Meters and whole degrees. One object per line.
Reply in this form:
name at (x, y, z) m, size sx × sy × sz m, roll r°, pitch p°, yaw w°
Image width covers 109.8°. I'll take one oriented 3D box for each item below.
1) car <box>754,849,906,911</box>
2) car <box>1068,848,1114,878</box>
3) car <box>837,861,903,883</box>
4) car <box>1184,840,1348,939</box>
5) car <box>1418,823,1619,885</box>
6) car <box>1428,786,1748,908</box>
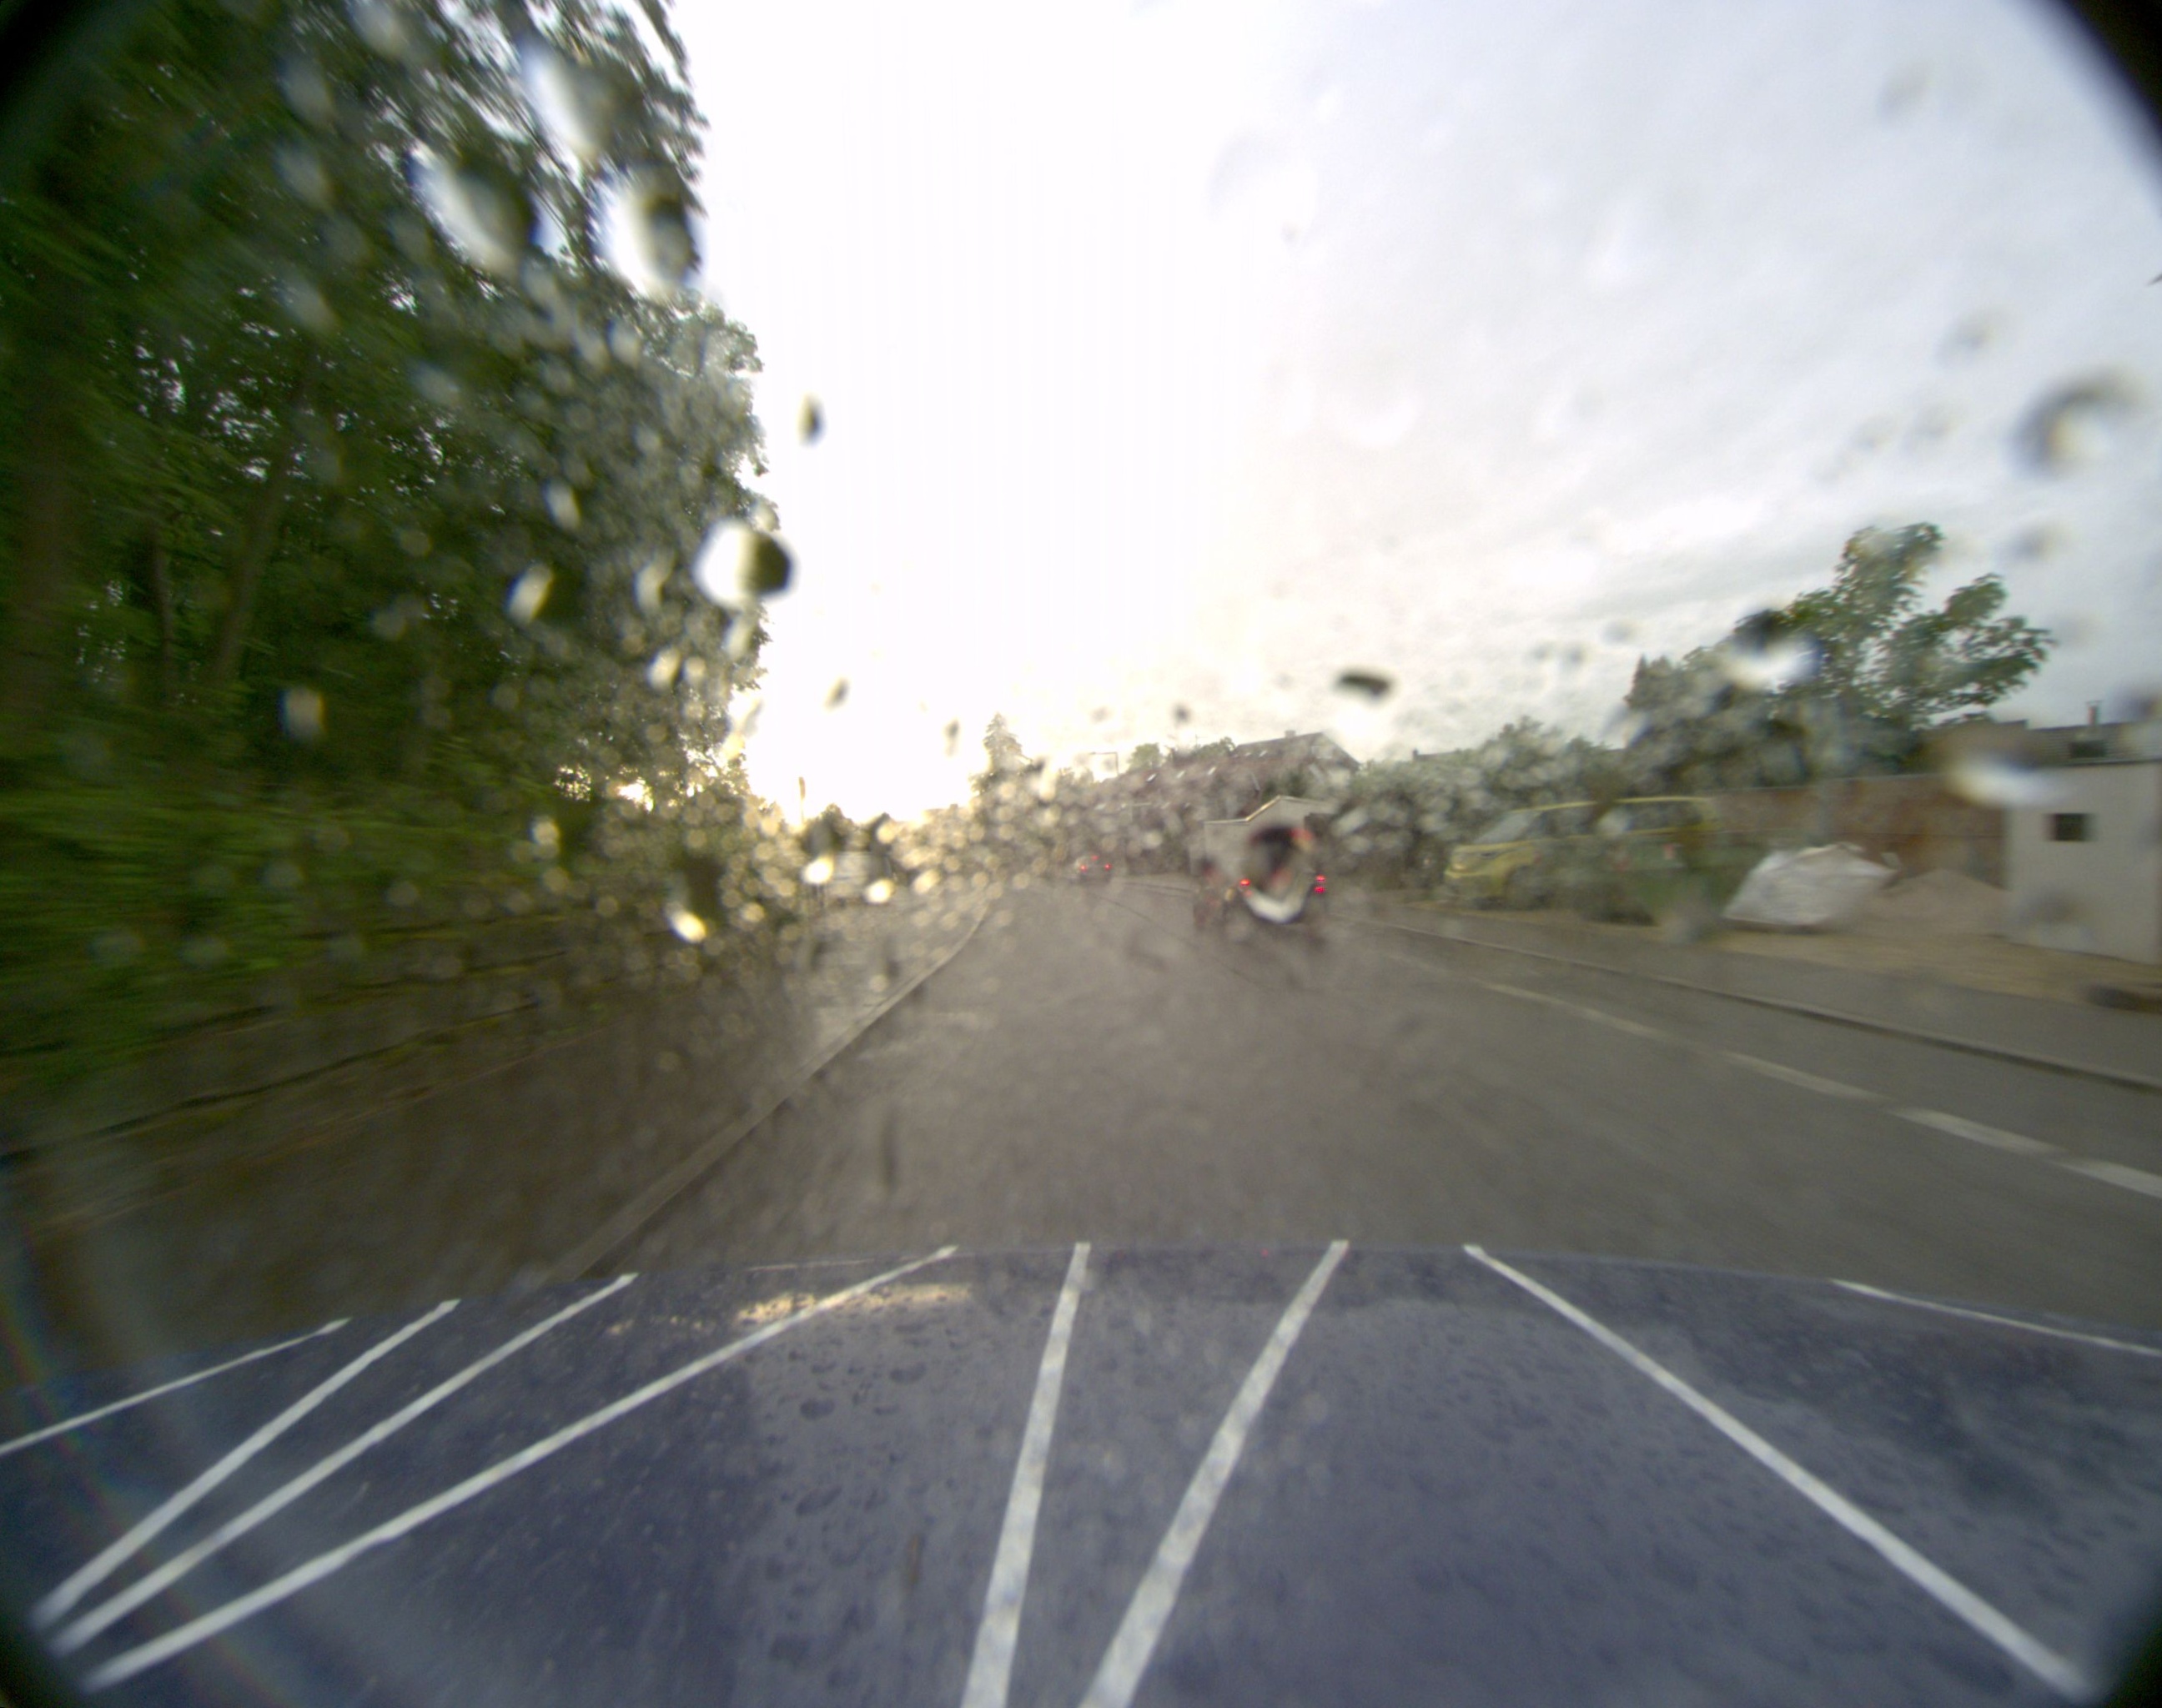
car at (-9.197, 0.916, 28.242) m, size 2.151 × 1.929 × 4.851 m, roll -3°, pitch 1°, yaw 40°
car at (0.495, 0.462, 42.369) m, size 1.840 × 1.503 × 4.614 m, roll -4°, pitch 1°, yaw -7°
car at (-15.625, 1.330, 56.347) m, size 4.323 × 1.455 × 1.808 m, roll -2°, pitch 0°, yaw -40°
car at (3.330, 0.561, 14.545) m, size 1.839 × 1.503 × 4.167 m, roll -4°, pitch 1°, yaw -3°
car at (10.717, -0.013, 18.744) m, size 4.008 × 1.295 × 1.790 m, roll -2°, pitch 1°, yaw -7°
car at (9.233, -0.125, 14.164) m, size 4.514 × 1.849 × 2.089 m, roll -3°, pitch 1°, yaw 0°
